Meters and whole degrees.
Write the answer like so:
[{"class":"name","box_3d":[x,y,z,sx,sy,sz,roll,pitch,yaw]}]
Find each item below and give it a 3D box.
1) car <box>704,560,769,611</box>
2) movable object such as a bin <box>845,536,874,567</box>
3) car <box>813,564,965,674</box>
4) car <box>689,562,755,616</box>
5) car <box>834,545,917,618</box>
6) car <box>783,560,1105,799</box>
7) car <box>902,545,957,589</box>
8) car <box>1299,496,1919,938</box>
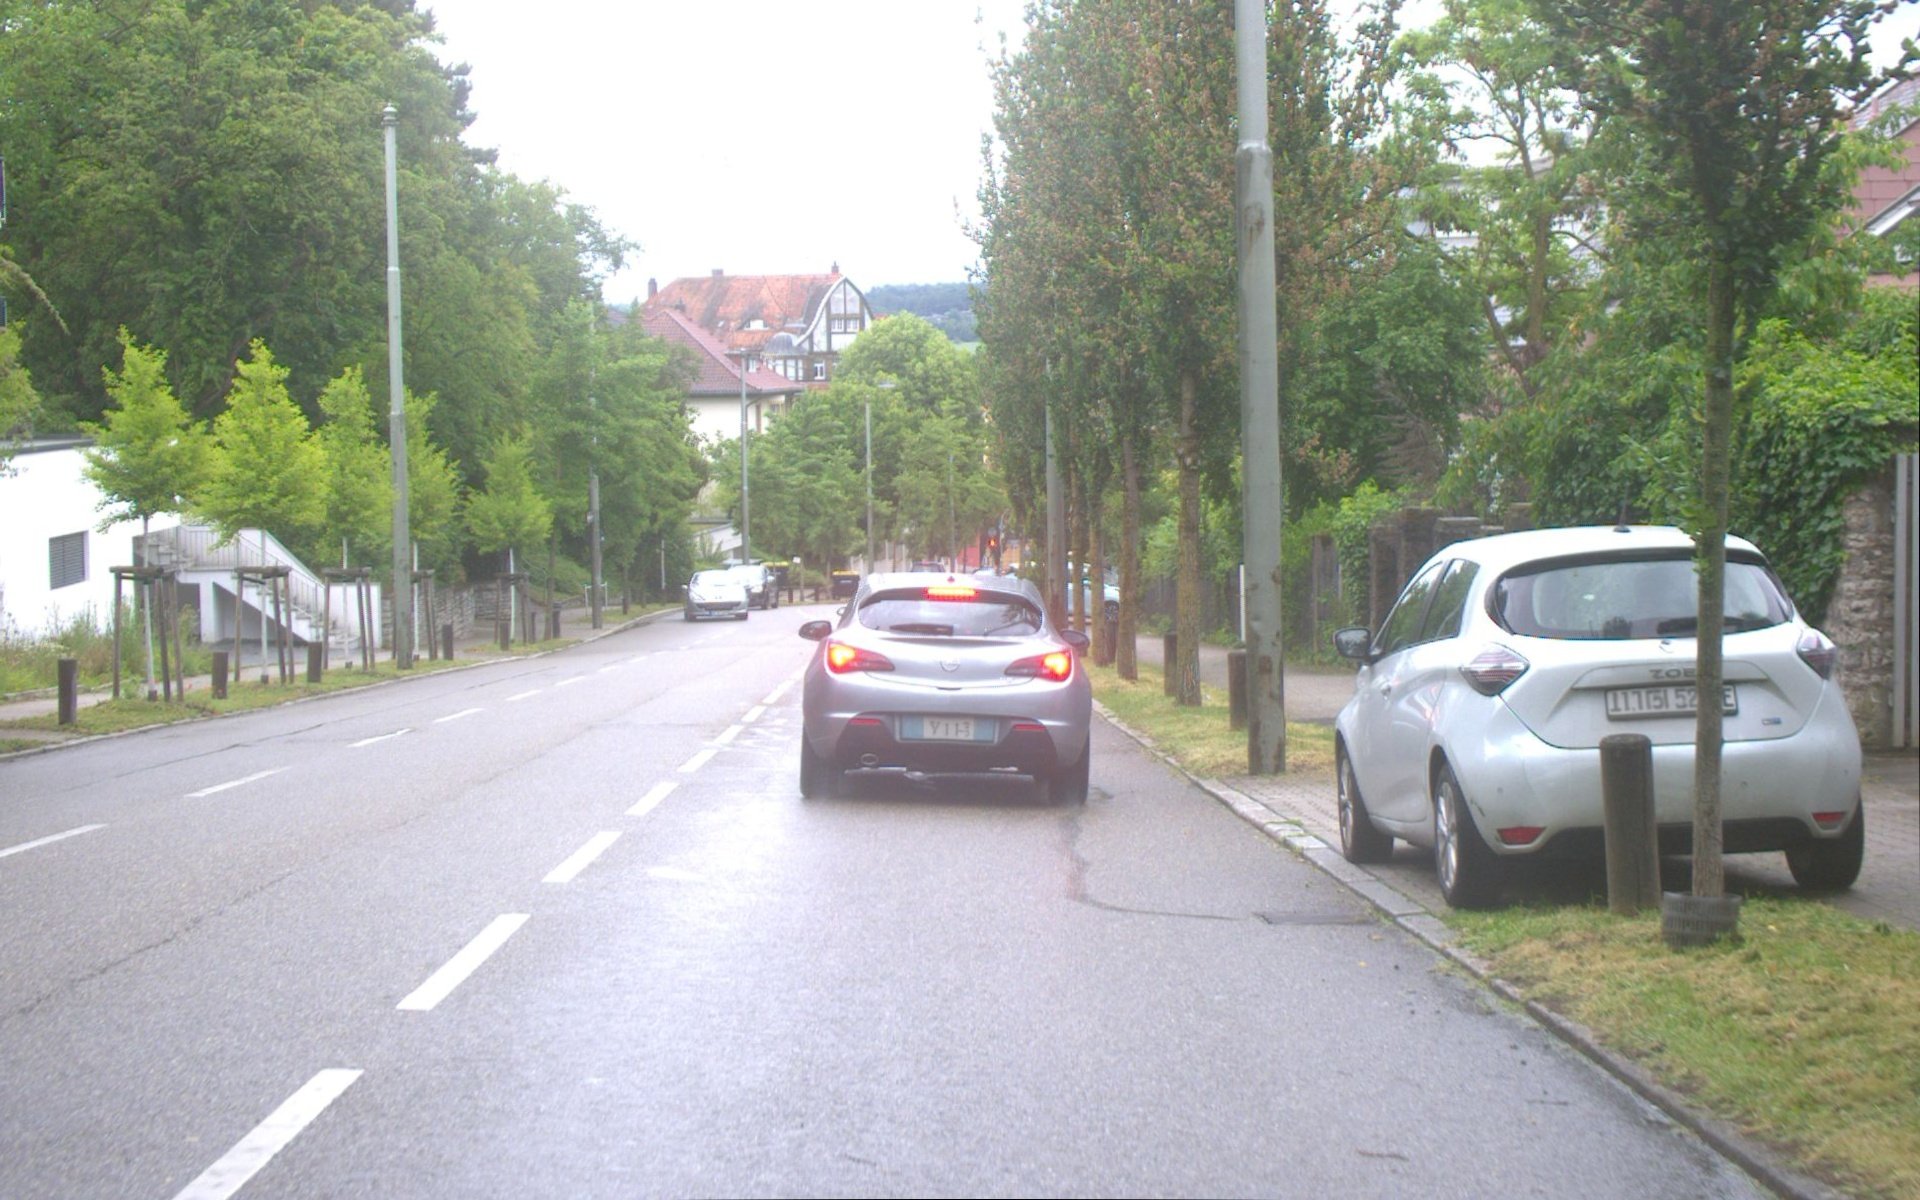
[{"class":"car","box_3d":[-7.226,-0.494,111.534,1.745,1.544,3.918,2,1,1]},{"class":"movable object such as a bin","box_3d":[-4.578,-2.216,157.144,1.272,1.382,0.489,0,2,5]},{"class":"car","box_3d":[-0.878,0.216,44.588,1.798,1.318,4.000,0,1,1]},{"class":"car","box_3d":[-6.961,-0.340,100.673,1.761,1.481,4.000,-2,1,-2]},{"class":"car","box_3d":[-2.256,-0.521,92.646,1.769,1.775,3.976,2,2,5]},{"class":"car","box_3d":[-0.121,0.464,22.948,1.945,1.427,3.884,1,1,-1]},{"class":"car","box_3d":[-1.169,-1.311,135.230,1.754,1.645,3.999,2,1,5]},{"class":"car","box_3d":[2.740,0.418,15.341,1.824,1.624,4.001,-3,1,-2]}]
